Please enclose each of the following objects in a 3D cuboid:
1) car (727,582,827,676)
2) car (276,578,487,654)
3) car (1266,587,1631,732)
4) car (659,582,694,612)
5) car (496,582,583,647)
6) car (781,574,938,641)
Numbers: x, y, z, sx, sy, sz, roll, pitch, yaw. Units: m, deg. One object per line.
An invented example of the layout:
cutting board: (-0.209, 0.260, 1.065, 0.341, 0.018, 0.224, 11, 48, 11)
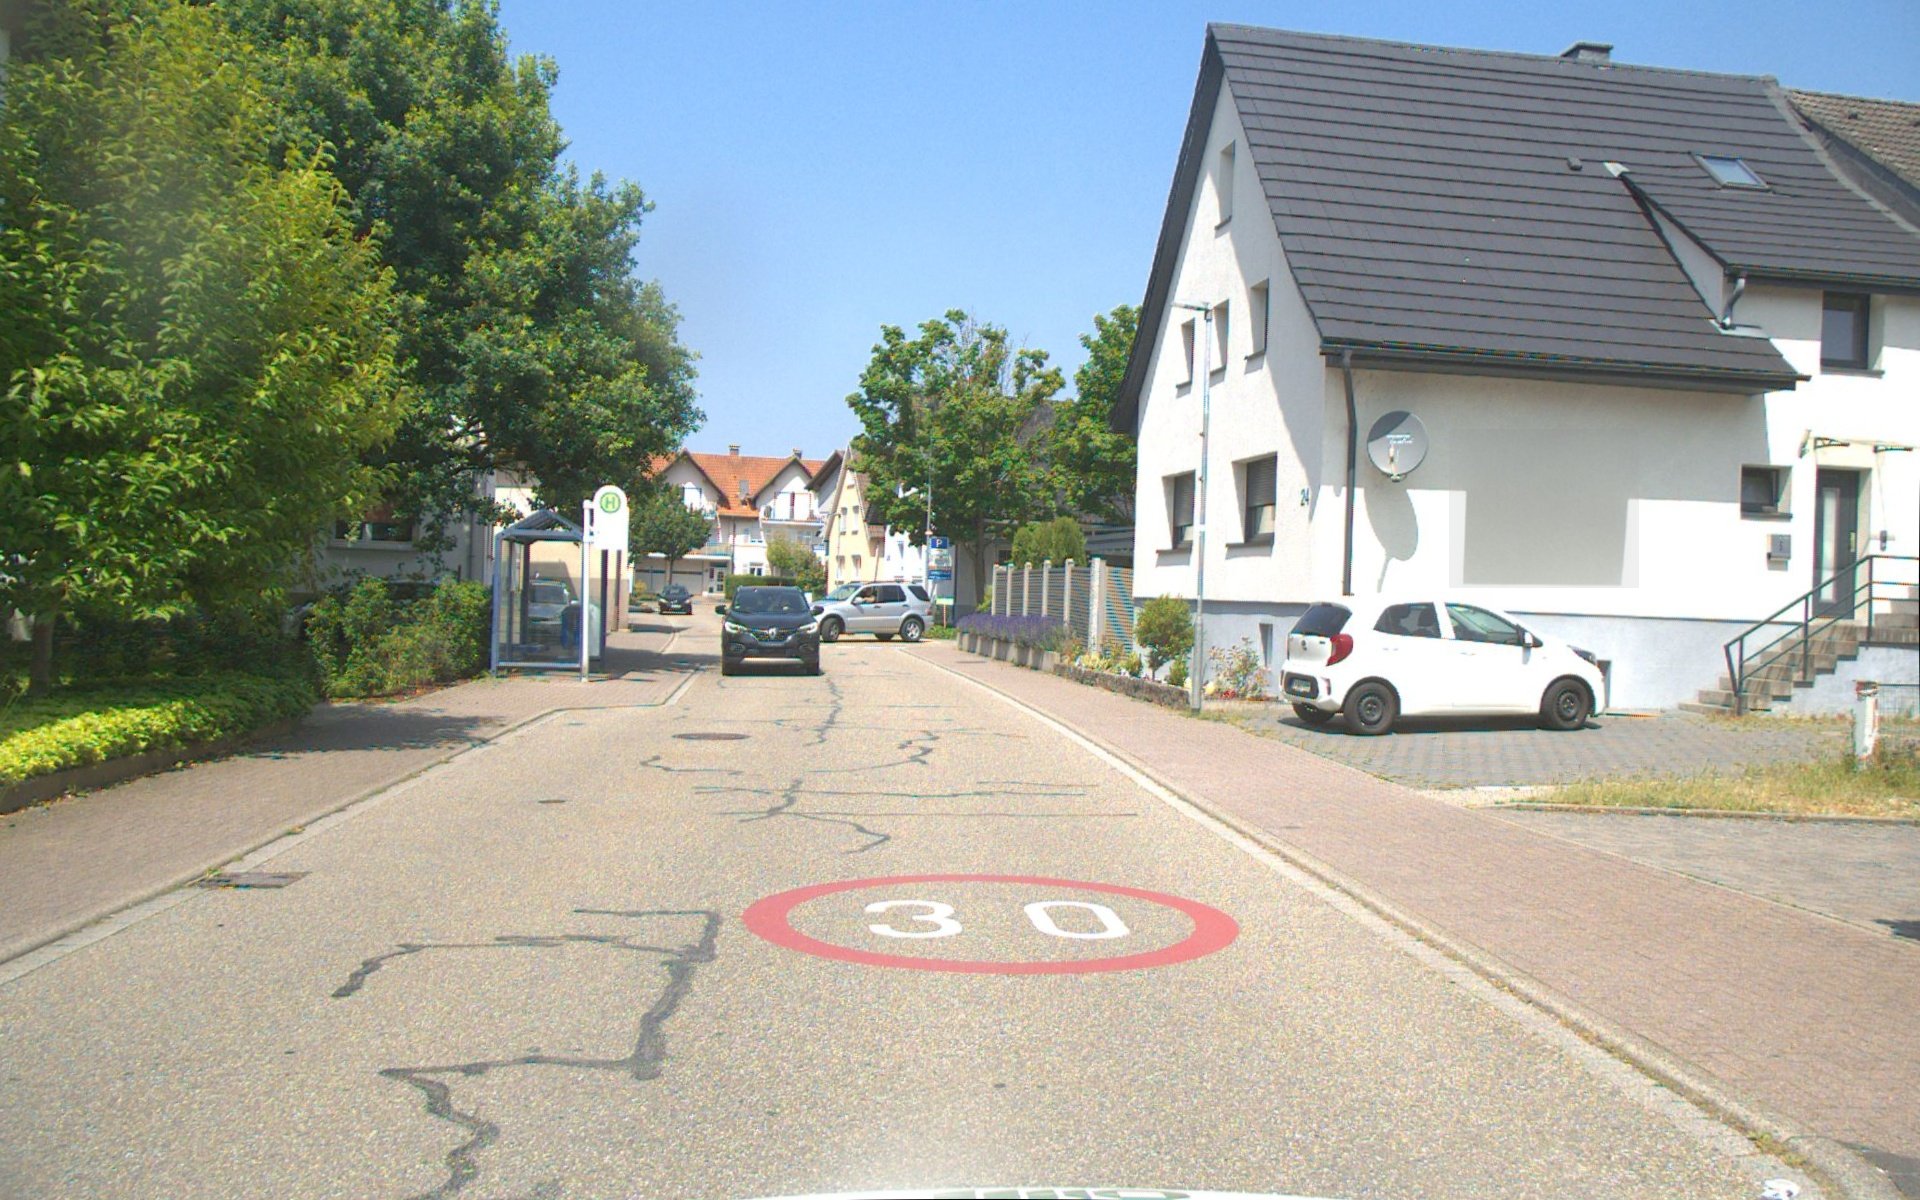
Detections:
car: (-3.450, 0.499, 31.115, 1.742, 1.652, 4.099, 0, 0, -7)
car: (-12.549, 0.322, 36.103, 4.083, 1.565, 1.770, 0, 1, -9)
car: (5.489, 0.624, 18.776, 3.592, 1.500, 1.761, 0, 1, -12)
car: (-14.702, -0.191, 85.687, 1.598, 1.512, 3.987, 0, 1, -13)
car: (-10.260, 0.320, 40.604, 1.746, 1.459, 4.046, 2, 1, -10)
car: (-2.962, 0.233, 49.212, 4.282, 1.797, 1.869, 2, 2, -36)
